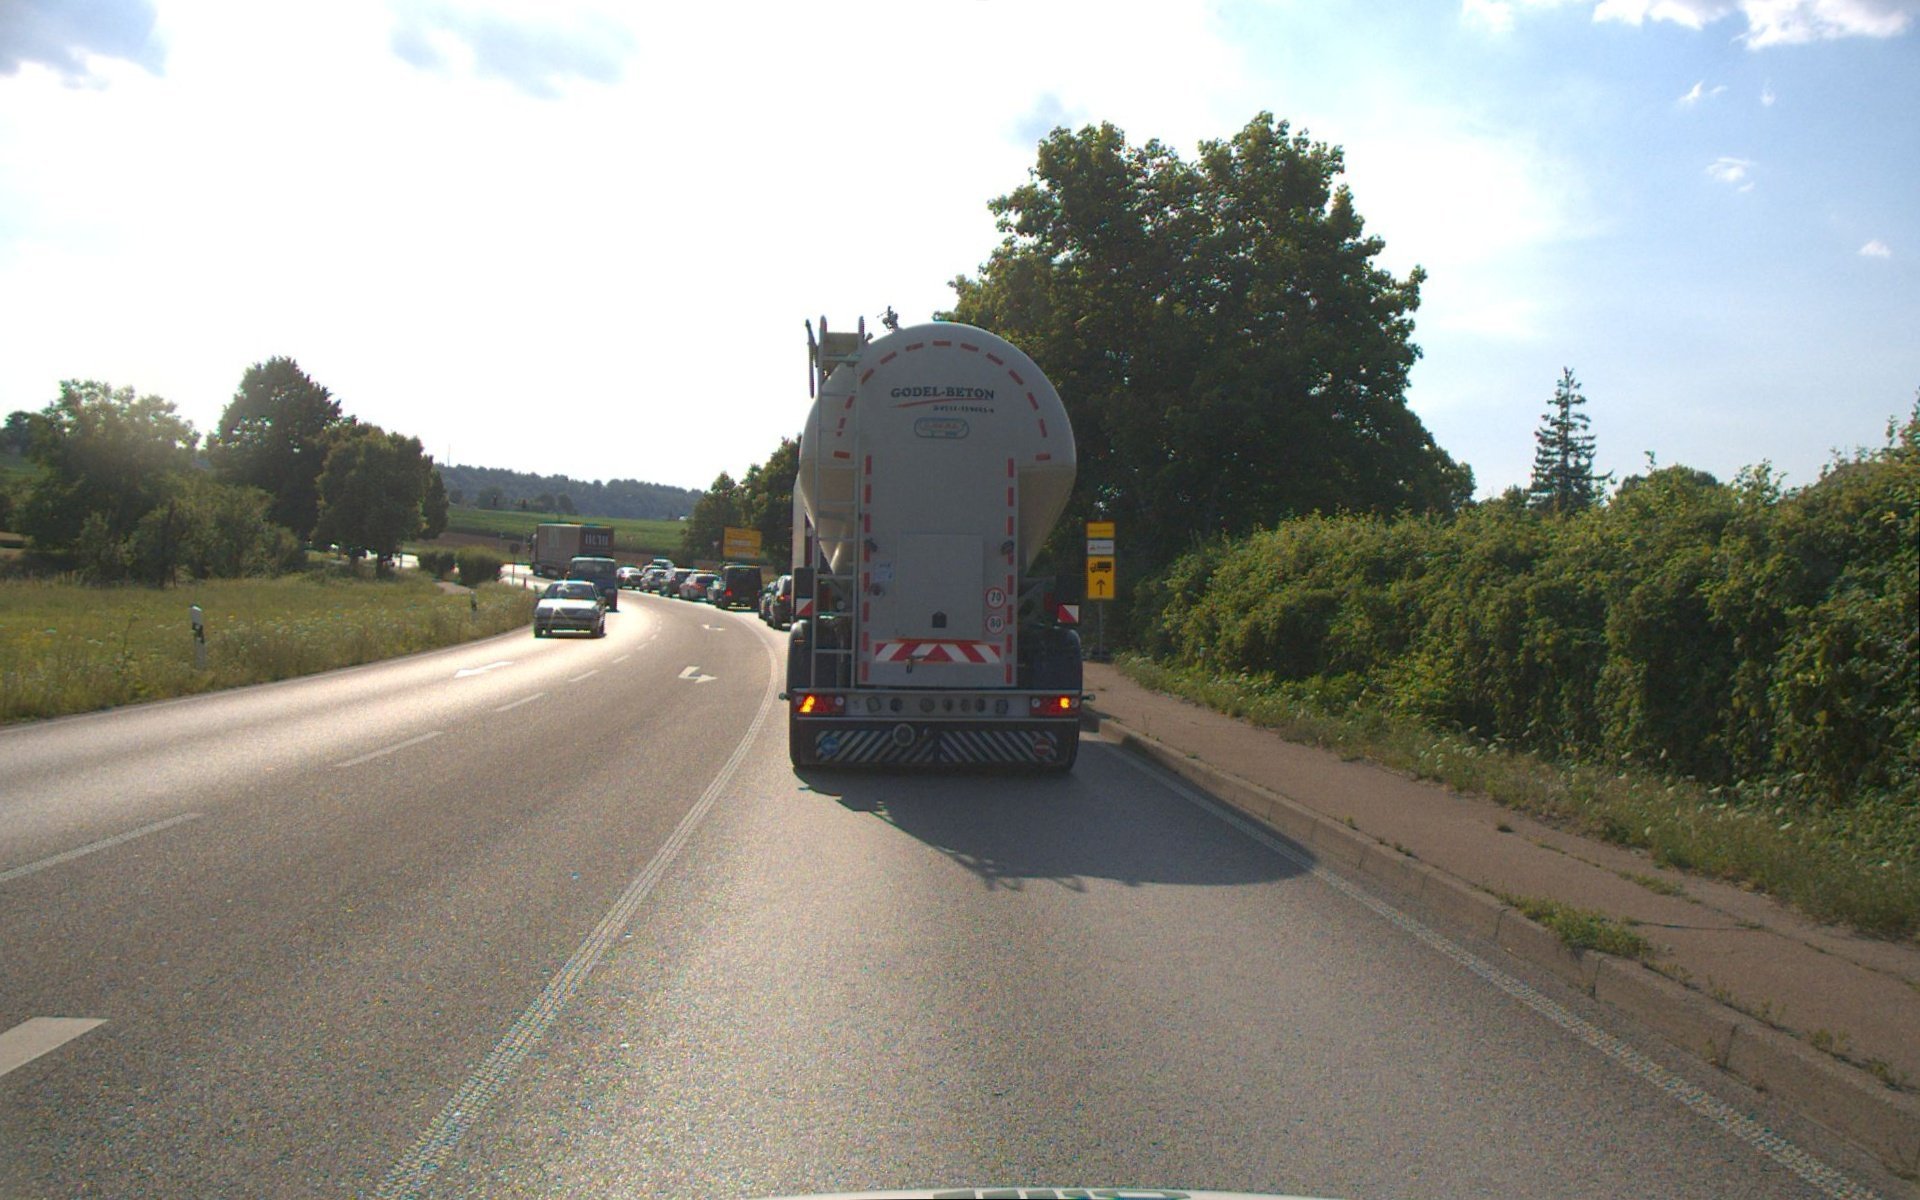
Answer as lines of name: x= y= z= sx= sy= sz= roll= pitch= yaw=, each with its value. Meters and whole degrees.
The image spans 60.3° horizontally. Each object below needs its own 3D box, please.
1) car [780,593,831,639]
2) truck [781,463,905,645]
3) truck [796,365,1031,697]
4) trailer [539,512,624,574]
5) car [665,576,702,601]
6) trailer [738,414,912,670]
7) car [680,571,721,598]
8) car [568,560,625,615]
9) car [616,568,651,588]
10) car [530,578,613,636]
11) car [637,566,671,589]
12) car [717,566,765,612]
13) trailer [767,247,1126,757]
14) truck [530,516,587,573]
car: x=-5.067 y=0.507 z=54.096 sx=1.550 sy=1.364 sz=3.421 roll=2 pitch=0 yaw=-6
truck: x=-2.987 y=-1.159 z=43.258 sx=2.892 sy=4.378 sz=4.928 roll=2 pitch=0 yaw=-3
truck: x=-0.696 y=-0.866 z=22.618 sx=2.852 sy=4.076 sz=4.057 roll=1 pitch=0 yaw=-4
trailer: x=-29.433 y=-4.373 z=128.031 sx=3.333 sy=4.426 sz=14.178 roll=2 pitch=0 yaw=-25
car: x=-16.217 y=-0.674 z=96.916 sx=1.557 sy=1.364 sz=3.406 roll=2 pitch=0 yaw=-20
trailer: x=-2.681 y=-1.080 z=36.195 sx=2.896 sy=4.390 sz=14.168 roll=2 pitch=0 yaw=-3
car: x=-14.237 y=-0.871 z=90.714 sx=1.557 sy=1.364 sz=3.406 roll=2 pitch=0 yaw=-20
car: x=-15.169 y=-0.509 z=69.292 sx=1.961 sy=2.174 sz=4.770 roll=1 pitch=0 yaw=-9
car: x=-21.902 y=-1.505 z=110.844 sx=1.743 sy=1.227 sz=3.406 roll=2 pitch=0 yaw=-20
car: x=-10.456 y=0.171 z=44.701 sx=1.674 sy=1.453 sz=4.172 roll=1 pitch=0 yaw=-7
car: x=-19.401 y=-1.411 z=104.782 sx=1.557 sy=1.364 sz=3.406 roll=2 pitch=0 yaw=-20
car: x=-10.160 y=-0.535 z=76.532 sx=1.830 sy=2.049 sz=3.707 roll=1 pitch=1 yaw=-13
trailer: x=-0.420 y=-0.810 z=18.350 sx=2.852 sy=4.076 sz=9.922 roll=1 pitch=0 yaw=-4
truck: x=-32.932 y=-4.538 z=135.450 sx=3.334 sy=4.426 sz=5.659 roll=2 pitch=0 yaw=-26
